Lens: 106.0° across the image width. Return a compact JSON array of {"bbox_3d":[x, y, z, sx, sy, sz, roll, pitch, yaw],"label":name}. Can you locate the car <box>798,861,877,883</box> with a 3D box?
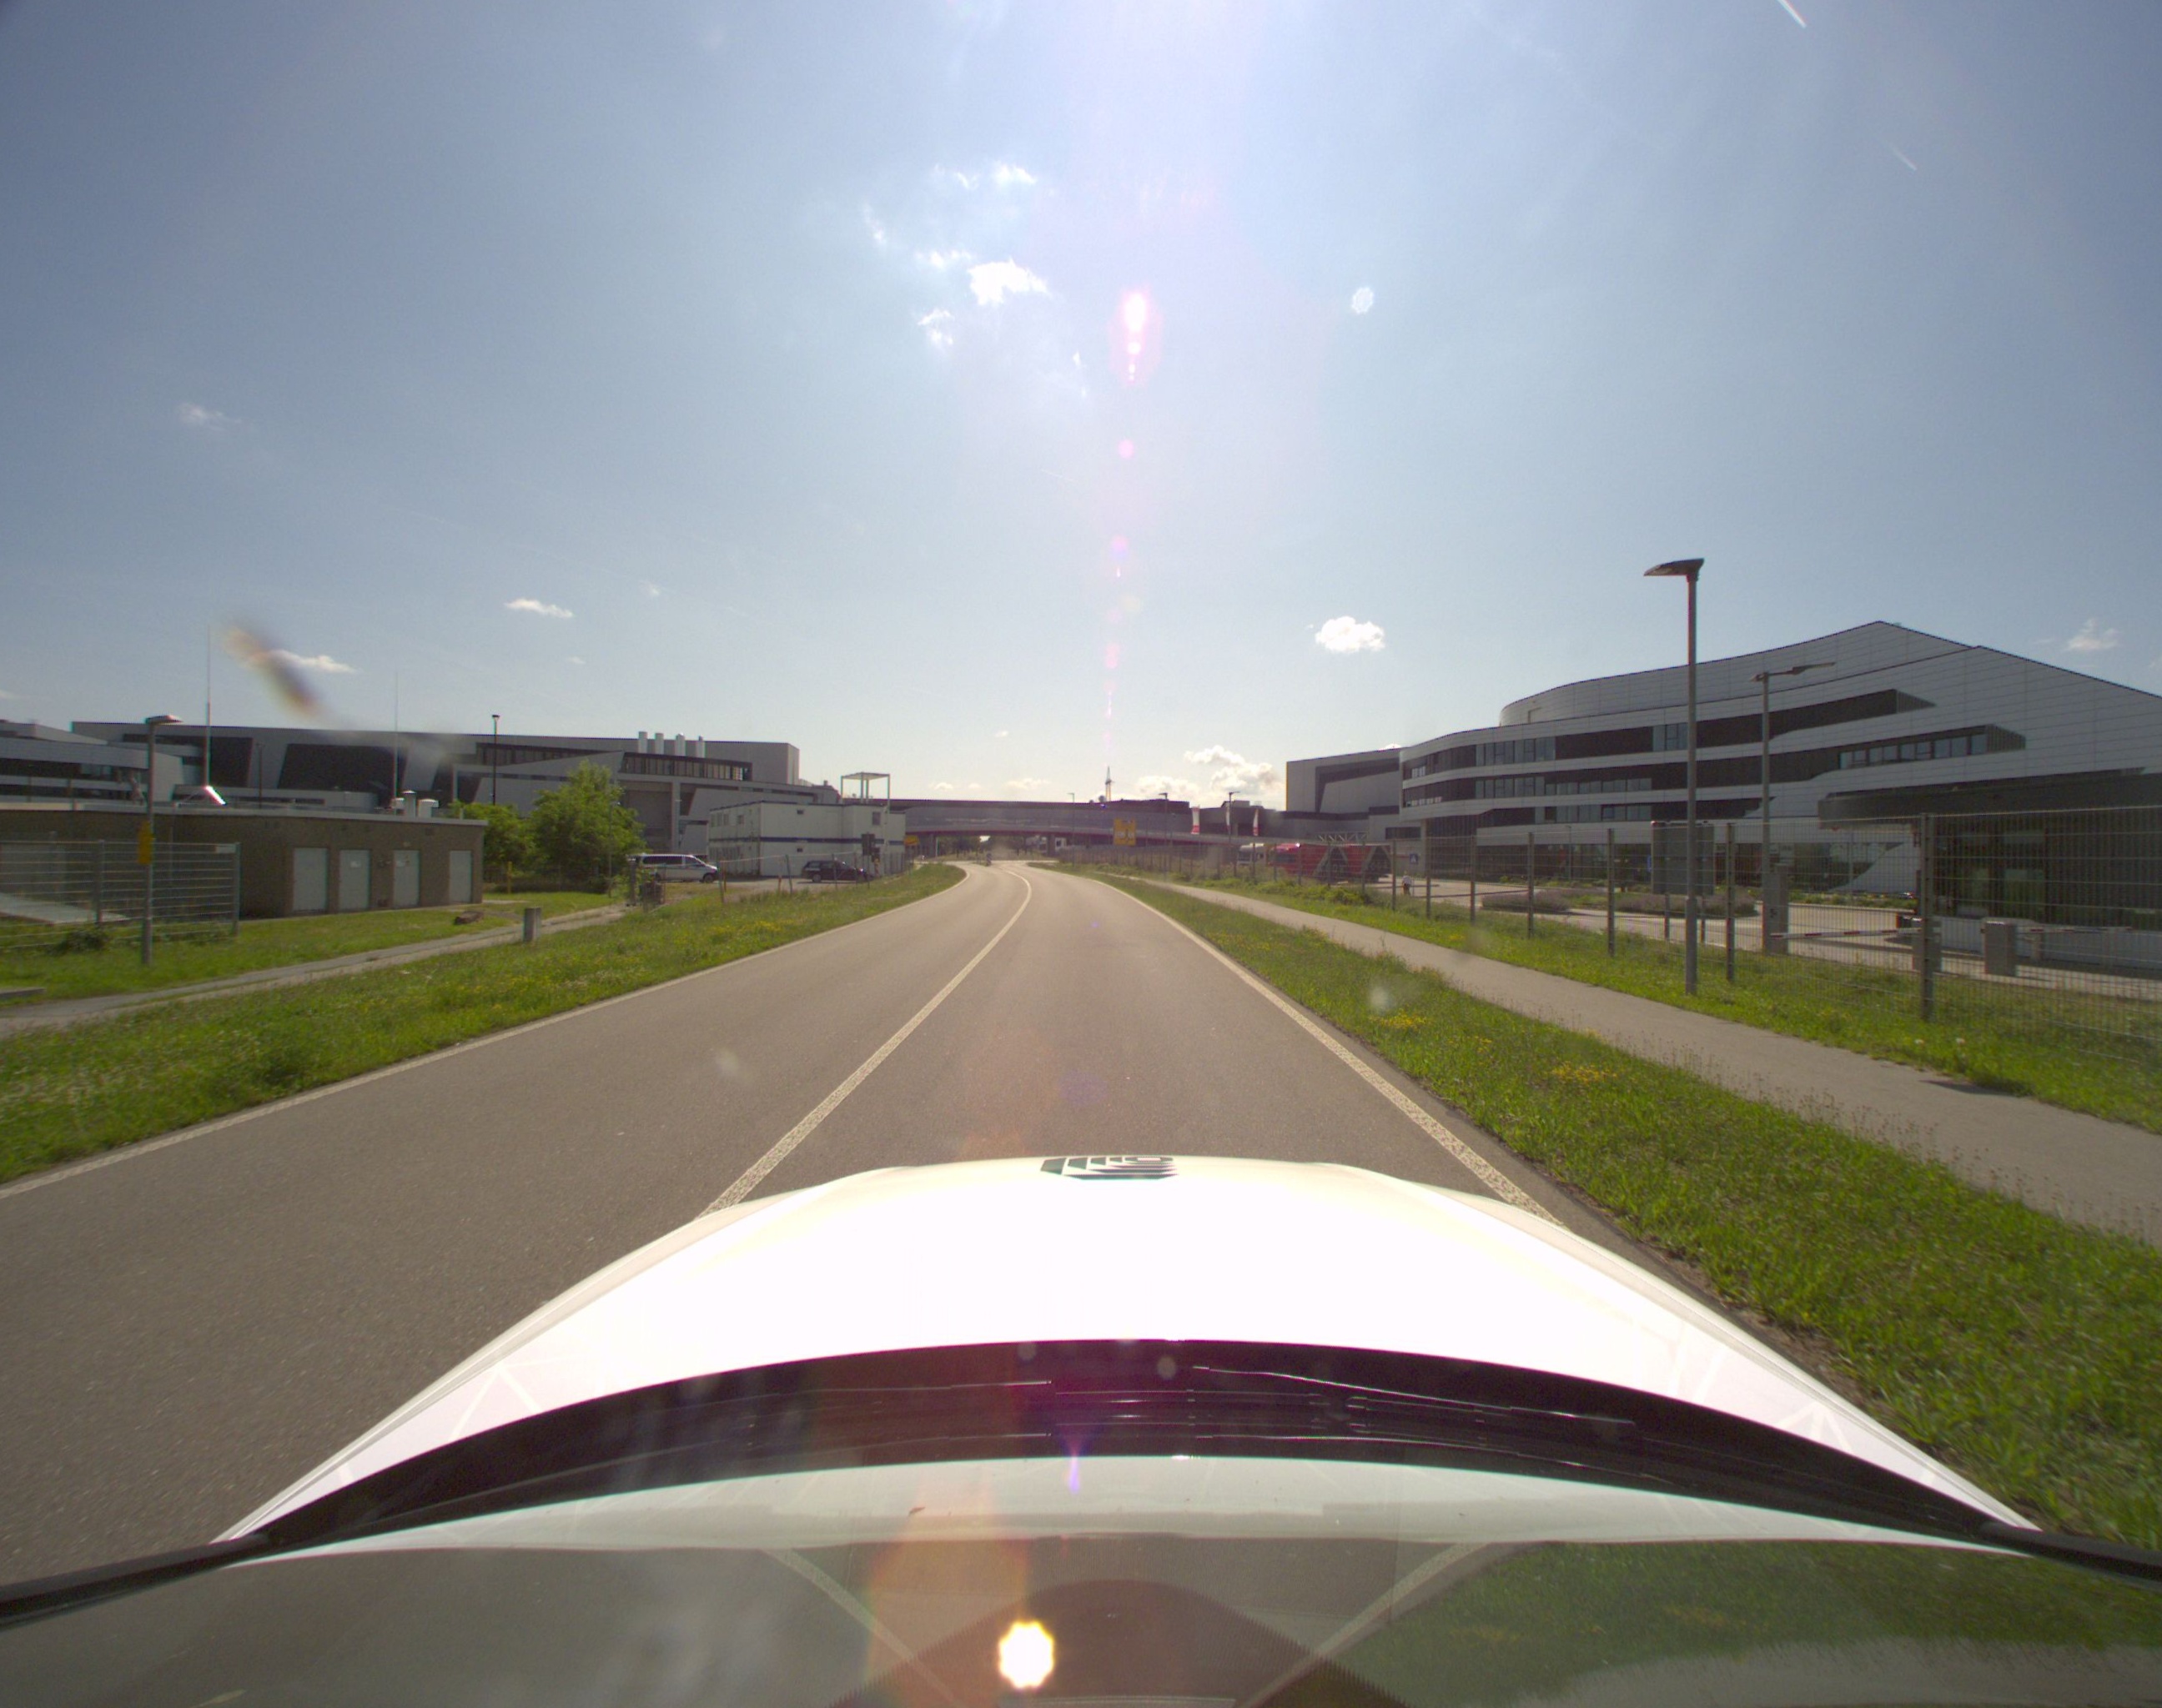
[{"bbox_3d":[-16.156,1.183,54.191,4.981,1.417,1.988,0,0,-18],"label":"car"}]

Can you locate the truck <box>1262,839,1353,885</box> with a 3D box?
[{"bbox_3d":[22.569,0.713,80.698,11.032,4.256,2.993,0,-1,-41],"label":"truck"}]

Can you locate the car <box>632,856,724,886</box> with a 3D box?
[{"bbox_3d":[-25.925,1.066,52.492,5.044,1.867,1.978,1,0,-37],"label":"car"}]

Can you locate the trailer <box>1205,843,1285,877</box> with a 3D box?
[{"bbox_3d":[22.825,0.812,112.399,14.138,4.438,2.733,0,-1,-41],"label":"trailer"}]

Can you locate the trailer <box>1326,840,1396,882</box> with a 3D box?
[{"bbox_3d":[30.031,0.675,87.148,8.761,4.296,2.993,0,-1,-40],"label":"trailer"}]

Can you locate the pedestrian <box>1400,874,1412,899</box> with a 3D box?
[{"bbox_3d":[21.746,2.167,54.504,0.482,1.653,0.573,1,-1,-4],"label":"pedestrian"}]

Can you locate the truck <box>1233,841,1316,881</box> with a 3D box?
[{"bbox_3d":[21.445,0.756,89.764,11.031,4.172,2.789,0,-1,-40],"label":"truck"}]
